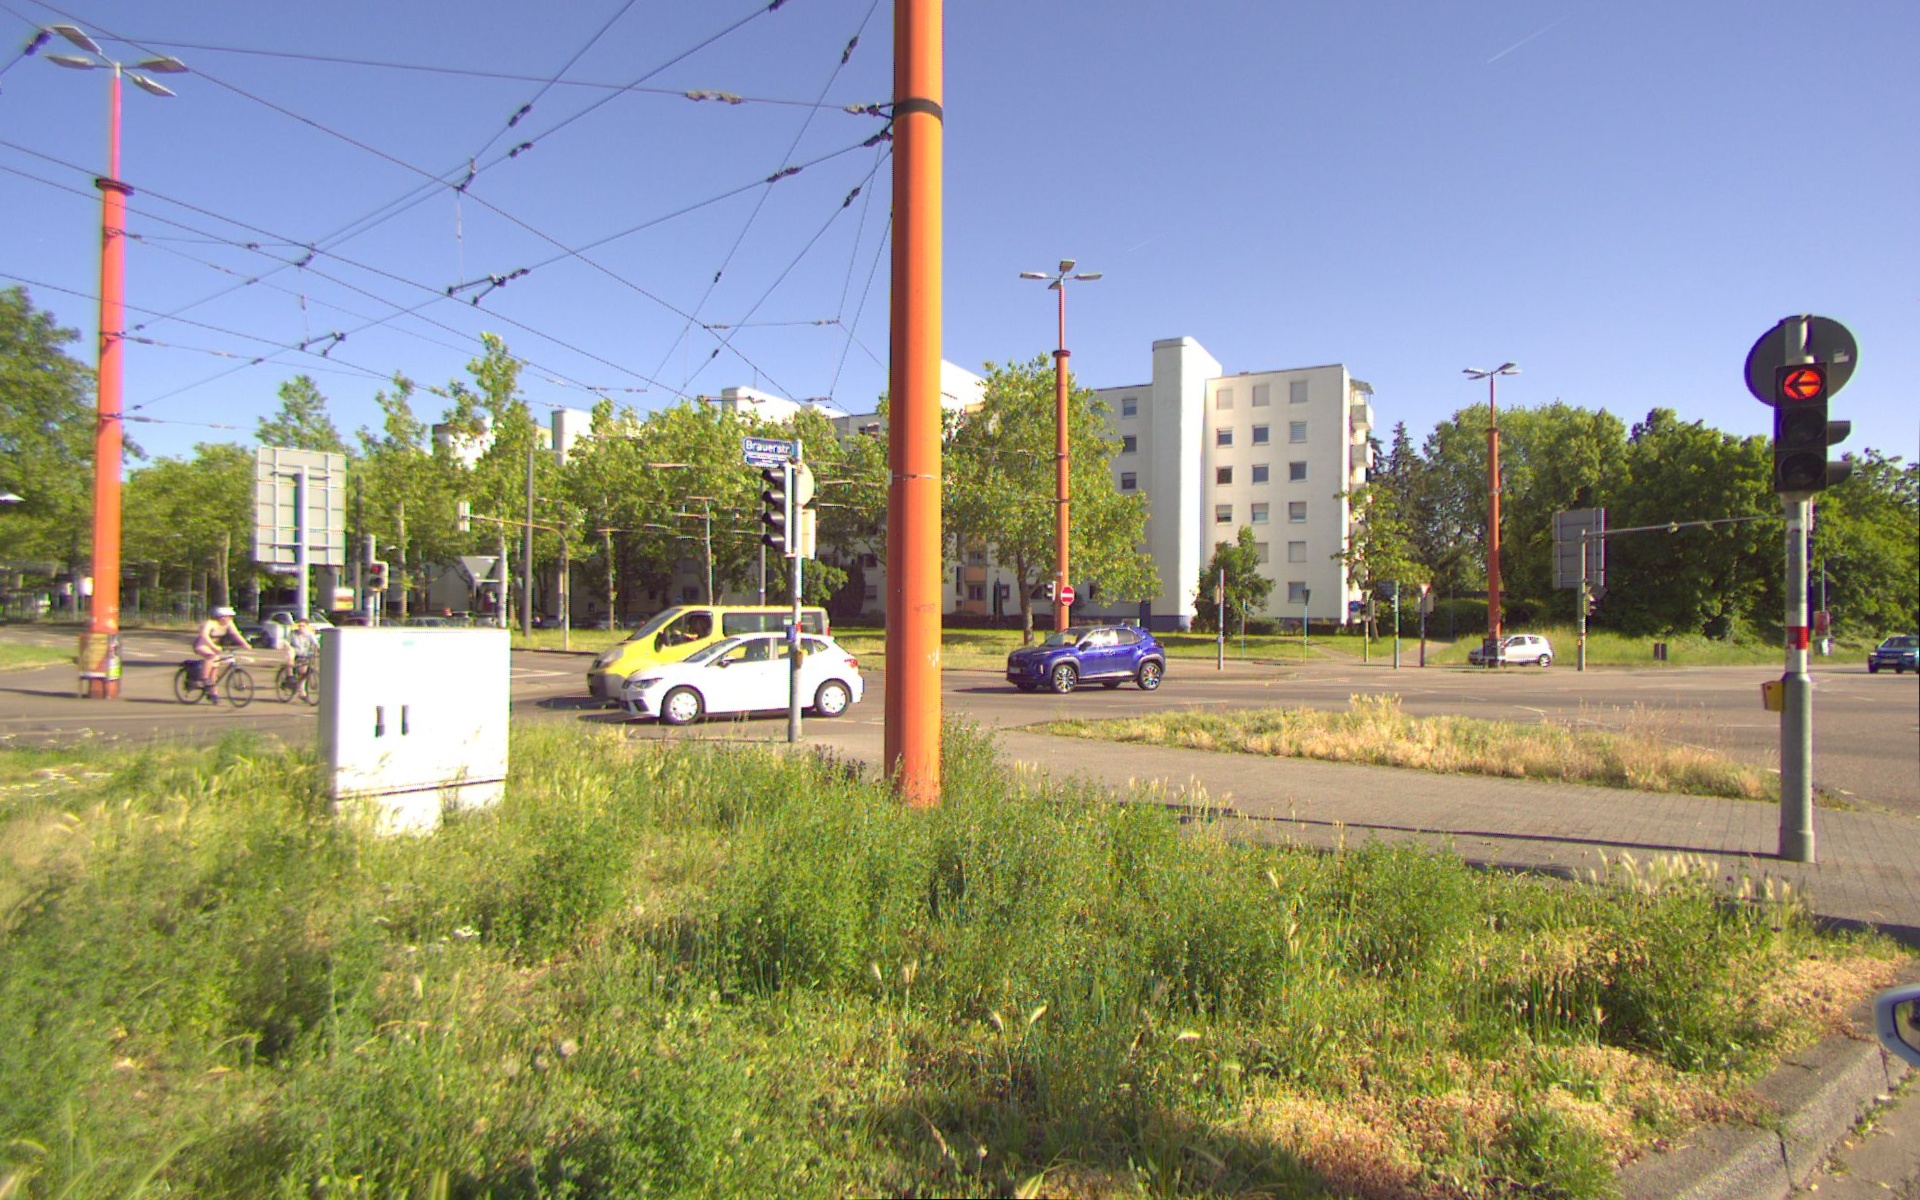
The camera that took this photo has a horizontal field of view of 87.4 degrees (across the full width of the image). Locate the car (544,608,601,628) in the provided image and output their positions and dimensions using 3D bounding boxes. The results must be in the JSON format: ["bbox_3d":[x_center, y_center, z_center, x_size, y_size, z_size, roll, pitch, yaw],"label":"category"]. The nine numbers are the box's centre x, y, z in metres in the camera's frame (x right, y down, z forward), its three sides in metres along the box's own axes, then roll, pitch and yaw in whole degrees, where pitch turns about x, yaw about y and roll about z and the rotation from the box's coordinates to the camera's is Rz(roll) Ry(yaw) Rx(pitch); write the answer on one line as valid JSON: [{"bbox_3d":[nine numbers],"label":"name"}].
[{"bbox_3d":[-30.086,1.412,78.074,3.934,1.428,1.794,1,-1,-16],"label":"car"}]

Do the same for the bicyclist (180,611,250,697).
[{"bbox_3d":[-14.024,1.006,18.930,0.752,1.565,0.732,1,-1,-1],"label":"bicyclist"}]

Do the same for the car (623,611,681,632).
[{"bbox_3d":[-22.265,1.542,72.645,3.934,1.428,1.794,1,-1,-16],"label":"car"}]

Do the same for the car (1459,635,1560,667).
[{"bbox_3d":[25.883,2.378,47.382,3.925,1.416,1.755,1,-1,-6],"label":"car"}]

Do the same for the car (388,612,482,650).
[{"bbox_3d":[-22.907,1.328,43.760,4.190,1.566,1.853,0,-1,34],"label":"car"}]

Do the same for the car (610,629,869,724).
[{"bbox_3d":[-3.691,1.230,17.004,3.973,1.425,1.681,1,-1,-30],"label":"car"}]

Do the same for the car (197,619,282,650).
[{"bbox_3d":[-34.479,1.608,48.059,4.286,1.368,1.762,0,-1,32],"label":"car"}]

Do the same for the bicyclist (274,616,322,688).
[{"bbox_3d":[-13.124,1.019,19.924,0.616,1.399,0.443,1,-1,-1],"label":"bicyclist"}]

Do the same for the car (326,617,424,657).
[{"bbox_3d":[-23.283,1.445,39.949,3.994,1.454,1.682,0,-1,31],"label":"car"}]

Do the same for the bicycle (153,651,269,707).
[{"bbox_3d":[-14.079,1.479,18.907,1.613,0.974,0.685,1,-1,-1],"label":"bicycle"}]

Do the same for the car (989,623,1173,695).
[{"bbox_3d":[2.941,1.384,24.242,4.058,1.595,1.984,1,-1,-30],"label":"car"}]

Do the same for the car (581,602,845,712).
[{"bbox_3d":[-4.963,1.104,20.377,4.849,1.992,1.984,1,-1,-30],"label":"car"}]

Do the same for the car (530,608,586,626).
[{"bbox_3d":[-31.947,1.363,79.971,3.935,1.428,1.794,1,-1,-17],"label":"car"}]

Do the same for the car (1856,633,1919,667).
[{"bbox_3d":[37.148,1.962,39.623,3.571,1.260,1.730,1,-1,-31],"label":"car"}]

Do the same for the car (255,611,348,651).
[{"bbox_3d":[-28.895,1.331,44.059,4.179,1.658,1.824,0,-1,32],"label":"car"}]

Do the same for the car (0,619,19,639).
[{"bbox_3d":[-71.045,2.114,73.705,4.286,1.368,1.762,1,-1,31],"label":"car"}]

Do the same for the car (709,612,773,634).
[{"bbox_3d":[-14.551,1.547,66.842,1.770,1.428,3.987,0,-1,35],"label":"car"}]

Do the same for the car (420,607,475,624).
[{"bbox_3d":[-44.799,1.380,87.894,3.935,1.428,1.794,1,-1,-17],"label":"car"}]

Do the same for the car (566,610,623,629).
[{"bbox_3d":[-27.587,1.480,75.920,3.934,1.428,1.794,1,-1,-16],"label":"car"}]

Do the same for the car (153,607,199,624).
[{"bbox_3d":[-94.100,1.869,120.534,1.969,2.040,3.984,0,-1,38],"label":"car"}]

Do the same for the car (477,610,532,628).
[{"bbox_3d":[-38.041,1.561,83.883,3.935,1.428,1.794,1,-1,-17],"label":"car"}]

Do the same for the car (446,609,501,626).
[{"bbox_3d":[-41.444,1.479,85.624,3.935,1.428,1.794,1,-1,-17],"label":"car"}]

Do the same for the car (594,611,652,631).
[{"bbox_3d":[-25.005,1.551,74.696,3.934,1.428,1.794,1,-1,-16],"label":"car"}]
